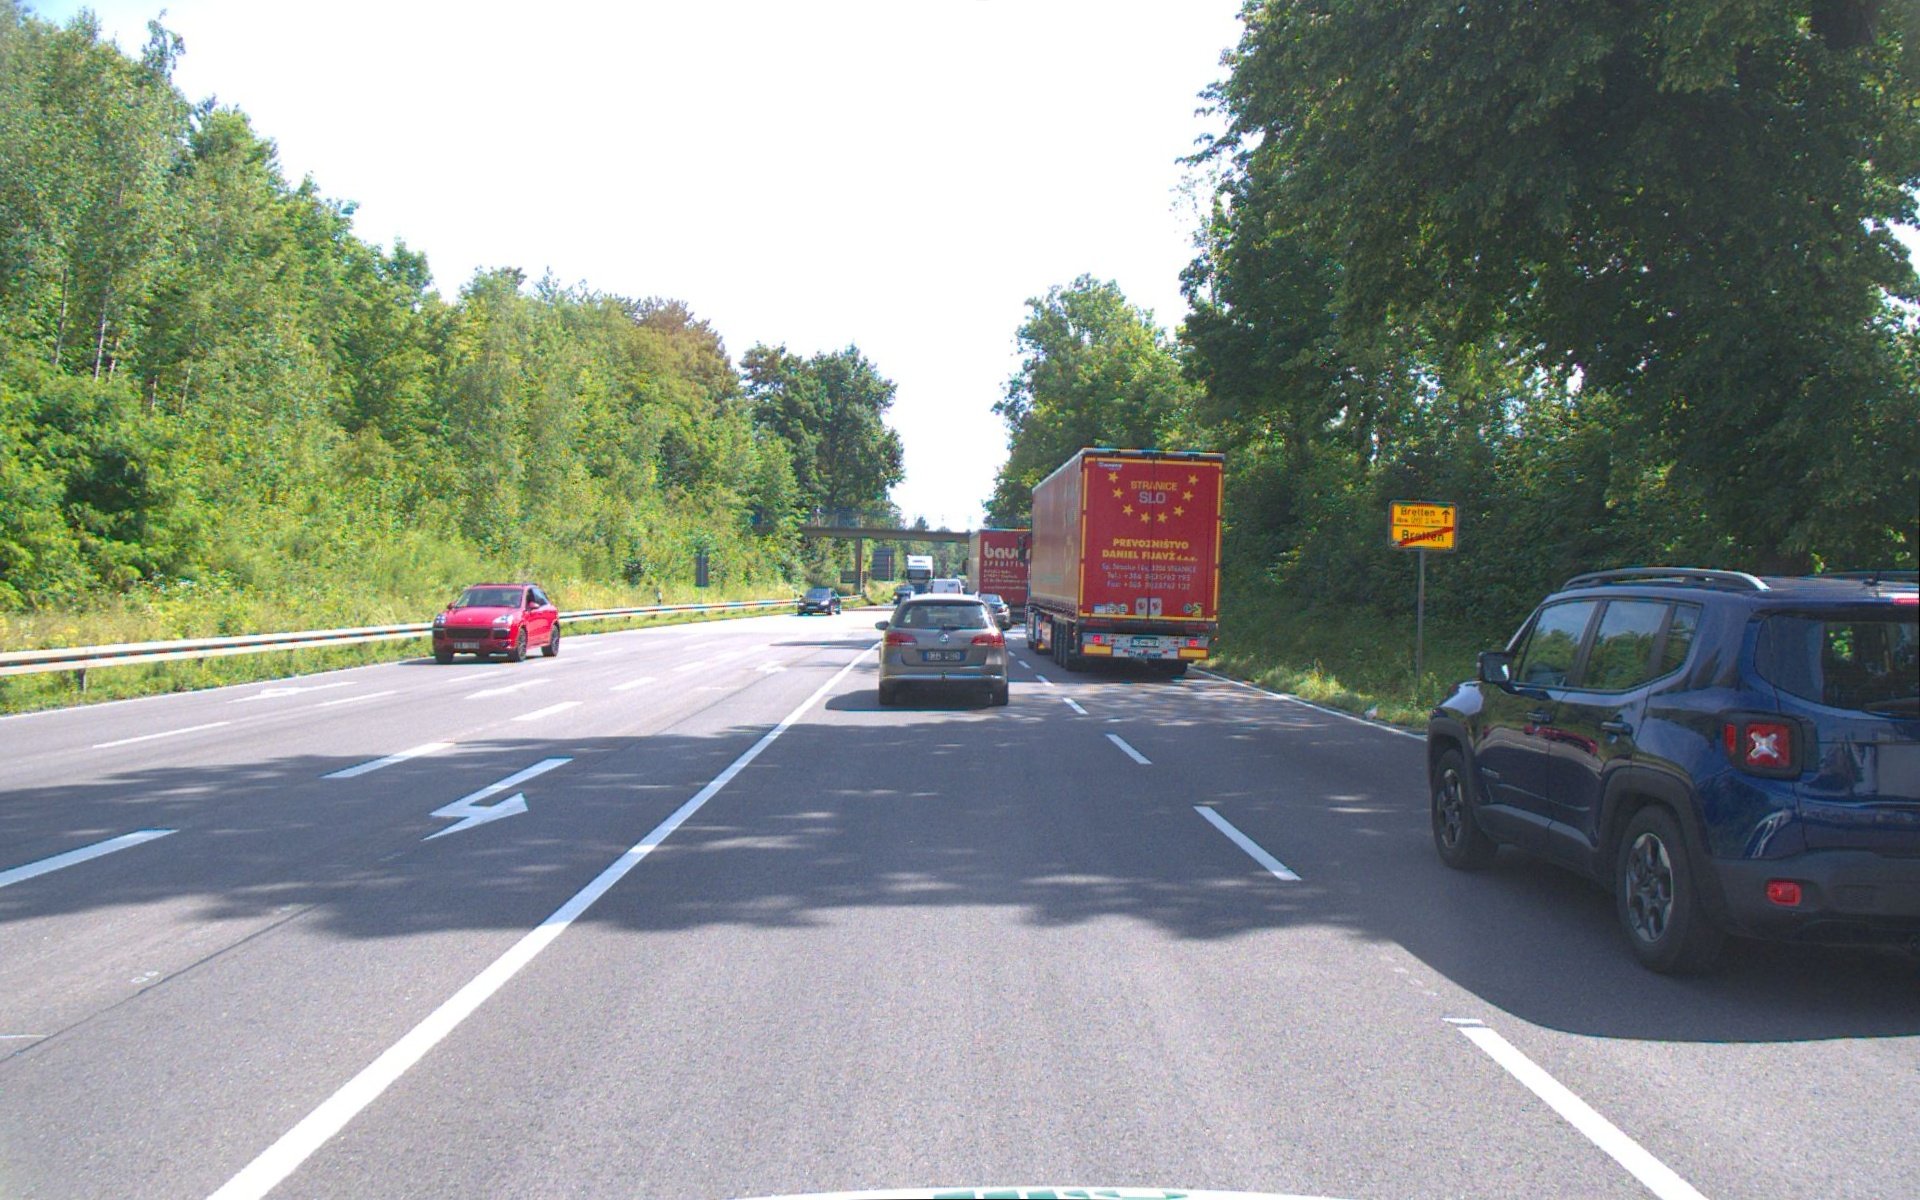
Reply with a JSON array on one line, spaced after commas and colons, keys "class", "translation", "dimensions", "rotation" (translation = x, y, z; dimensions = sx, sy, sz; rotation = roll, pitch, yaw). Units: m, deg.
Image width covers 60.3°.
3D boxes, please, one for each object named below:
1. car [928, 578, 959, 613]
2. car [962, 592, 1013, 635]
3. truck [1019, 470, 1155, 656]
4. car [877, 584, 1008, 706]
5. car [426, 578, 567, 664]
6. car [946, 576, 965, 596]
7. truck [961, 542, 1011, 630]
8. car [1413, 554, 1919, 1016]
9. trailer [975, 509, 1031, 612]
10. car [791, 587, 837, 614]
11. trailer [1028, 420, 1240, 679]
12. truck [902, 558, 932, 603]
[{"class": "car", "translation": [-0.972, -0.224, 96.024], "dimensions": [1.734, 1.970, 3.976], "rotation": [-1, 0, -1]}, {"class": "car", "translation": [0.992, 0.513, 62.052], "dimensions": [1.734, 1.539, 3.999], "rotation": [-1, 0, -1]}, {"class": "truck", "translation": [3.134, -0.873, 42.370], "dimensions": [2.812, 4.356, 5.837], "rotation": [1, 0, -1]}, {"class": "car", "translation": [-0.263, 0.584, 23.092], "dimensions": [1.657, 1.539, 3.999], "rotation": [-1, 0, -1]}, {"class": "car", "translation": [-10.541, 0.465, 37.975], "dimensions": [1.933, 1.828, 4.808], "rotation": [-1, 0, -1]}, {"class": "car", "translation": [-0.504, -1.520, 179.782], "dimensions": [1.953, 2.049, 3.999], "rotation": [-1, 0, -1]}, {"class": "truck", "translation": [1.275, -0.653, 82.008], "dimensions": [2.357, 4.200, 5.521], "rotation": [-1, 0, 1]}, {"class": "car", "translation": [3.700, 0.679, 8.095], "dimensions": [1.735, 1.683, 3.998], "rotation": [-1, 0, -2]}, {"class": "trailer", "translation": [1.910, -1.635, 76.084], "dimensions": [2.346, 4.317, 13.078], "rotation": [-1, 0, 1]}, {"class": "car", "translation": [-7.748, 0.029, 88.055], "dimensions": [1.922, 1.439, 4.001], "rotation": [0, 0, 3]}, {"class": "trailer", "translation": [3.306, -0.857, 35.468], "dimensions": [2.782, 4.442, 13.163], "rotation": [1, 0, -1]}, {"class": "truck", "translation": [-3.964, -1.743, 152.524], "dimensions": [2.717, 4.000, 9.463], "rotation": [0, 0, -2]}]
